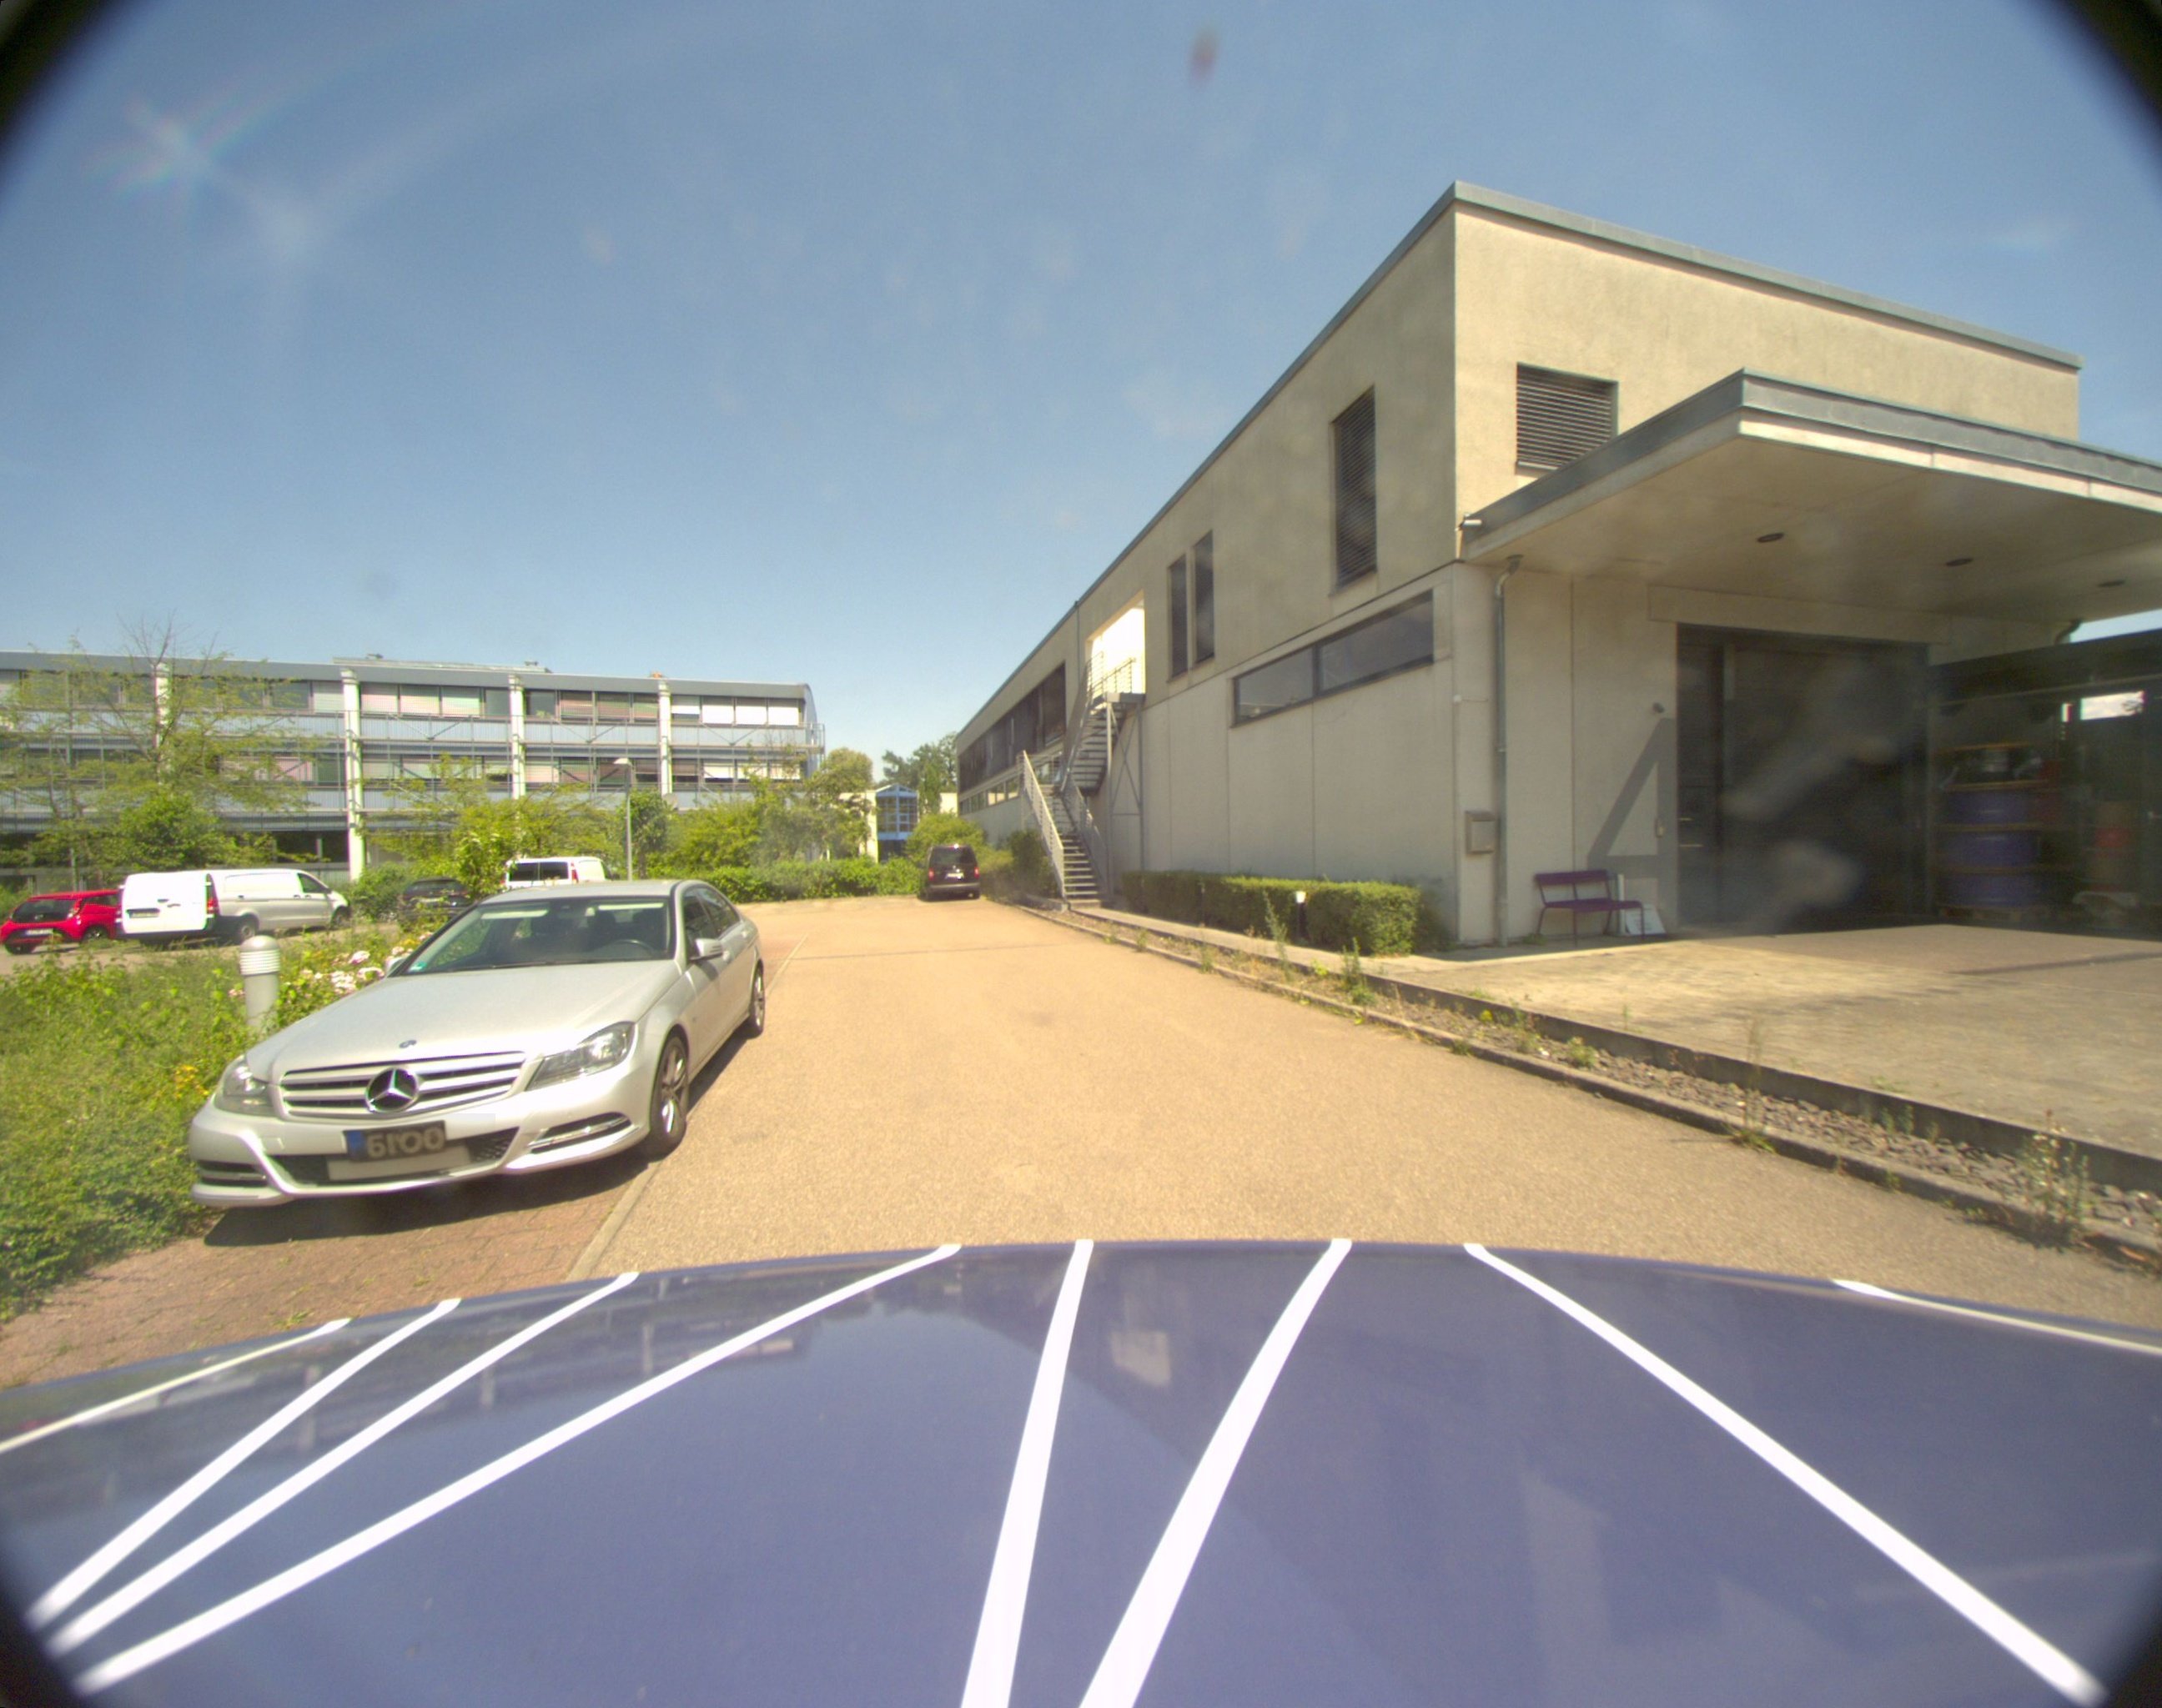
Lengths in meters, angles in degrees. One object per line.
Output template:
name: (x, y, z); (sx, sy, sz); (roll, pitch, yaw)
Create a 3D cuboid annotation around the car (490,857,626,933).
car: (-15.013, 1.070, 22.155); (1.870, 1.849, 4.669); (-3, 1, -17)

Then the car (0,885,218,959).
car: (-25.431, 1.697, 19.982); (1.625, 1.479, 3.915); (-3, 1, -15)

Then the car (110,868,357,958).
car: (-21.998, 1.400, 20.105); (1.857, 1.845, 4.928); (-3, 1, -15)

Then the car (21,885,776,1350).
car: (-3.379, 1.045, 5.076); (1.806, 1.390, 4.414); (-2, 1, -13)

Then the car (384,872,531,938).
car: (-17.737, 1.373, 21.879); (1.741, 1.475, 4.191); (-3, 1, -17)

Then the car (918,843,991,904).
car: (-4.428, 0.603, 26.114); (1.870, 1.849, 4.222); (-3, 1, -17)
